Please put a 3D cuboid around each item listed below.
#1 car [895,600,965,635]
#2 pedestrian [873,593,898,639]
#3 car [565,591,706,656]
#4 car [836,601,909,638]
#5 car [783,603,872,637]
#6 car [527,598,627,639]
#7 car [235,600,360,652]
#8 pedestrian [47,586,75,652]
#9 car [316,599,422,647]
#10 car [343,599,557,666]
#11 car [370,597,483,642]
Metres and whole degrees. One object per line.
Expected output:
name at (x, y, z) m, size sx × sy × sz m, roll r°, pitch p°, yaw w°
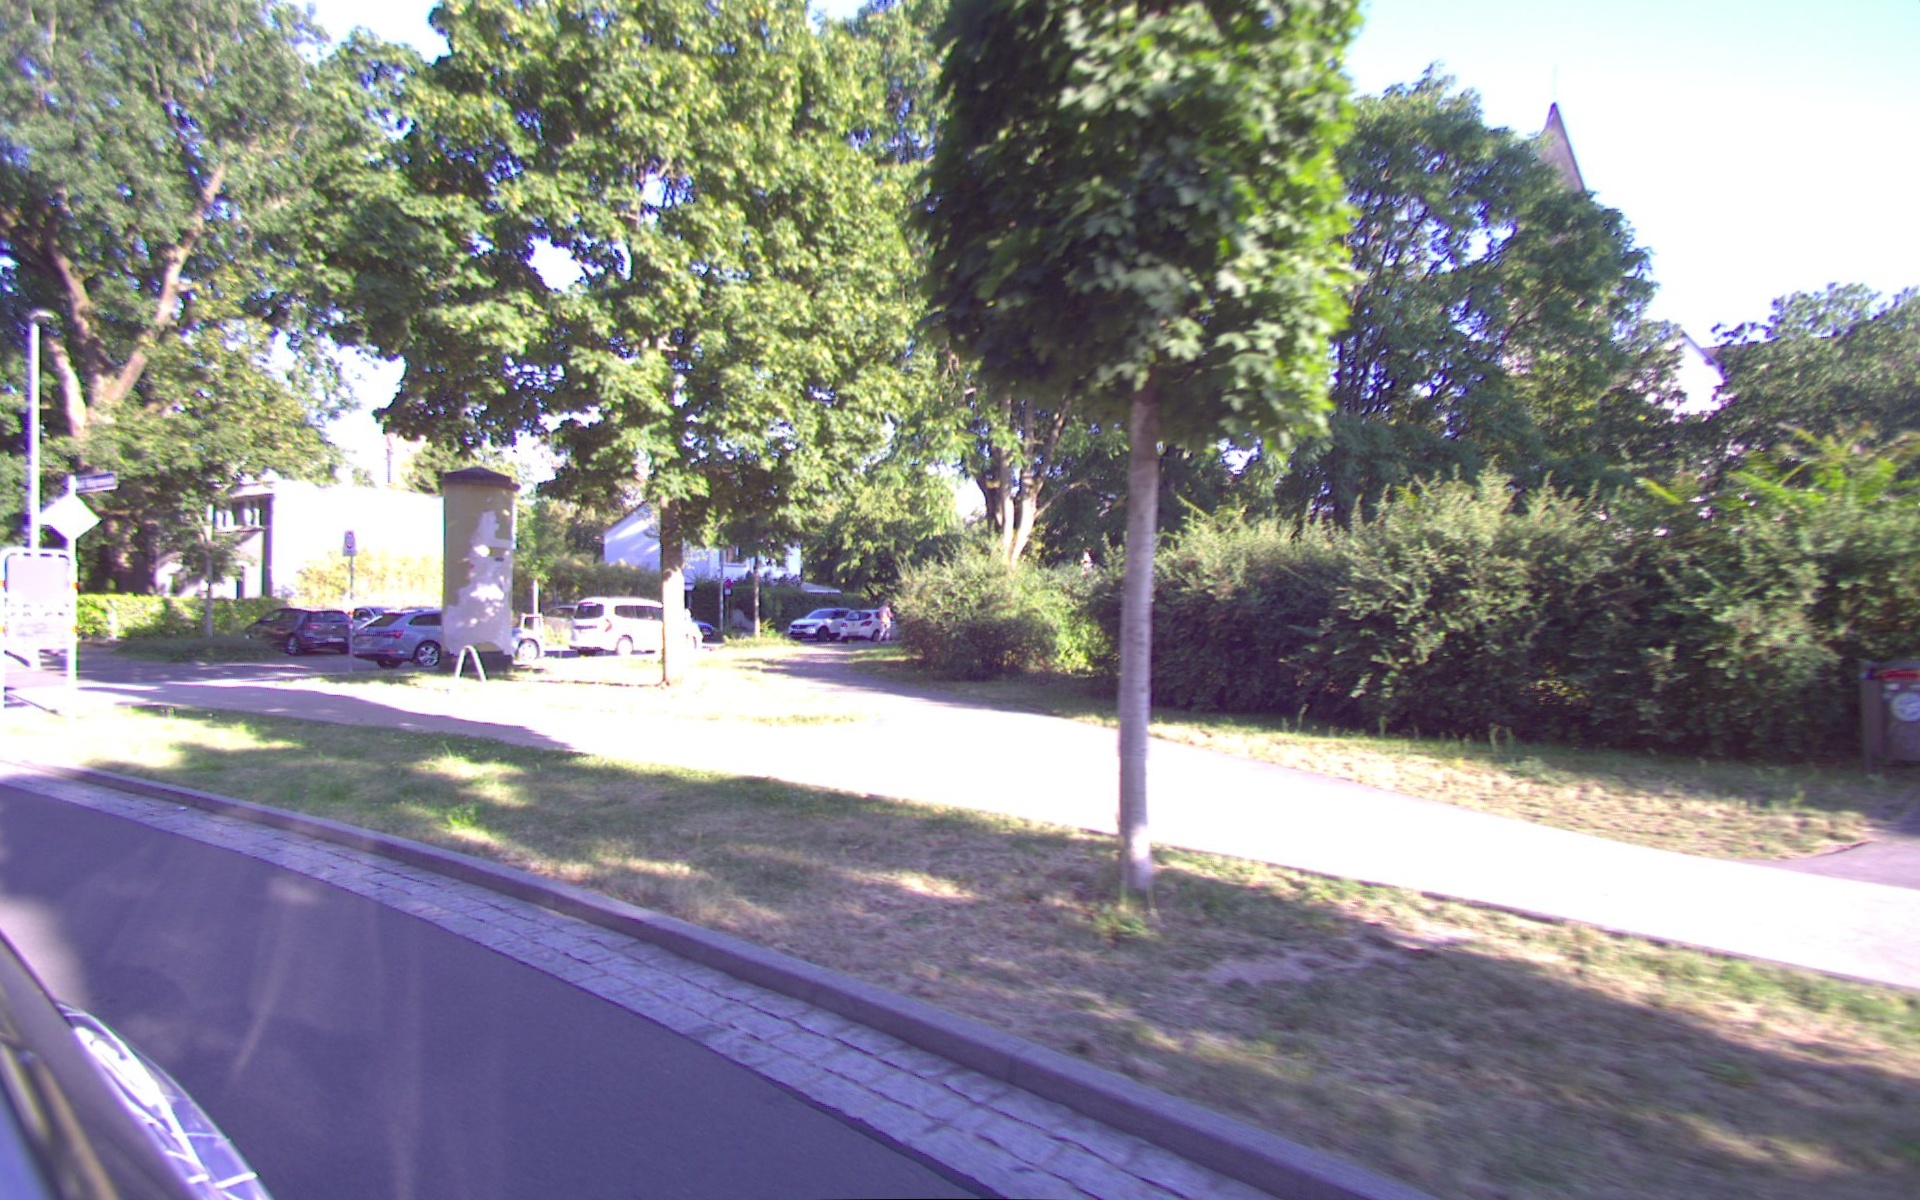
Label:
car at (-1.415, 0.823, 48.751) m, size 1.711 × 1.520 × 3.641 m, roll -1°, pitch 1°, yaw 30°
pedestrian at (-2.899, 0.624, 39.434) m, size 0.713 × 1.750 × 0.740 m, roll 0°, pitch 0°, yaw 30°
car at (-10.161, 0.698, 32.022) m, size 1.755 × 1.931 × 4.196 m, roll 0°, pitch 0°, yaw 29°
car at (-3.786, 0.808, 44.211) m, size 1.709 × 1.520 × 3.279 m, roll 0°, pitch 0°, yaw 27°
car at (-6.249, 0.936, 48.017) m, size 1.778 × 1.547 × 4.296 m, roll -2°, pitch -1°, yaw 34°
car at (-15.770, 0.737, 41.646) m, size 3.905 × 1.549 × 1.729 m, roll 1°, pitch 1°, yaw 28°
car at (-20.926, 0.765, 31.943) m, size 3.982 × 1.527 × 1.629 m, roll 0°, pitch 0°, yaw 29°
pedestrian at (-25.011, 0.521, 28.152) m, size 0.664 × 1.788 × 0.430 m, roll 0°, pitch 0°, yaw 34°
car at (-20.117, 0.741, 34.451) m, size 3.340 × 1.502 × 1.622 m, roll 1°, pitch 1°, yaw 28°
car at (-13.087, 0.766, 26.301) m, size 1.860 × 1.570 × 4.789 m, roll 0°, pitch 0°, yaw 29°
car at (-19.298, 0.664, 36.599) m, size 4.085 × 1.468 × 1.792 m, roll 1°, pitch 1°, yaw 32°
